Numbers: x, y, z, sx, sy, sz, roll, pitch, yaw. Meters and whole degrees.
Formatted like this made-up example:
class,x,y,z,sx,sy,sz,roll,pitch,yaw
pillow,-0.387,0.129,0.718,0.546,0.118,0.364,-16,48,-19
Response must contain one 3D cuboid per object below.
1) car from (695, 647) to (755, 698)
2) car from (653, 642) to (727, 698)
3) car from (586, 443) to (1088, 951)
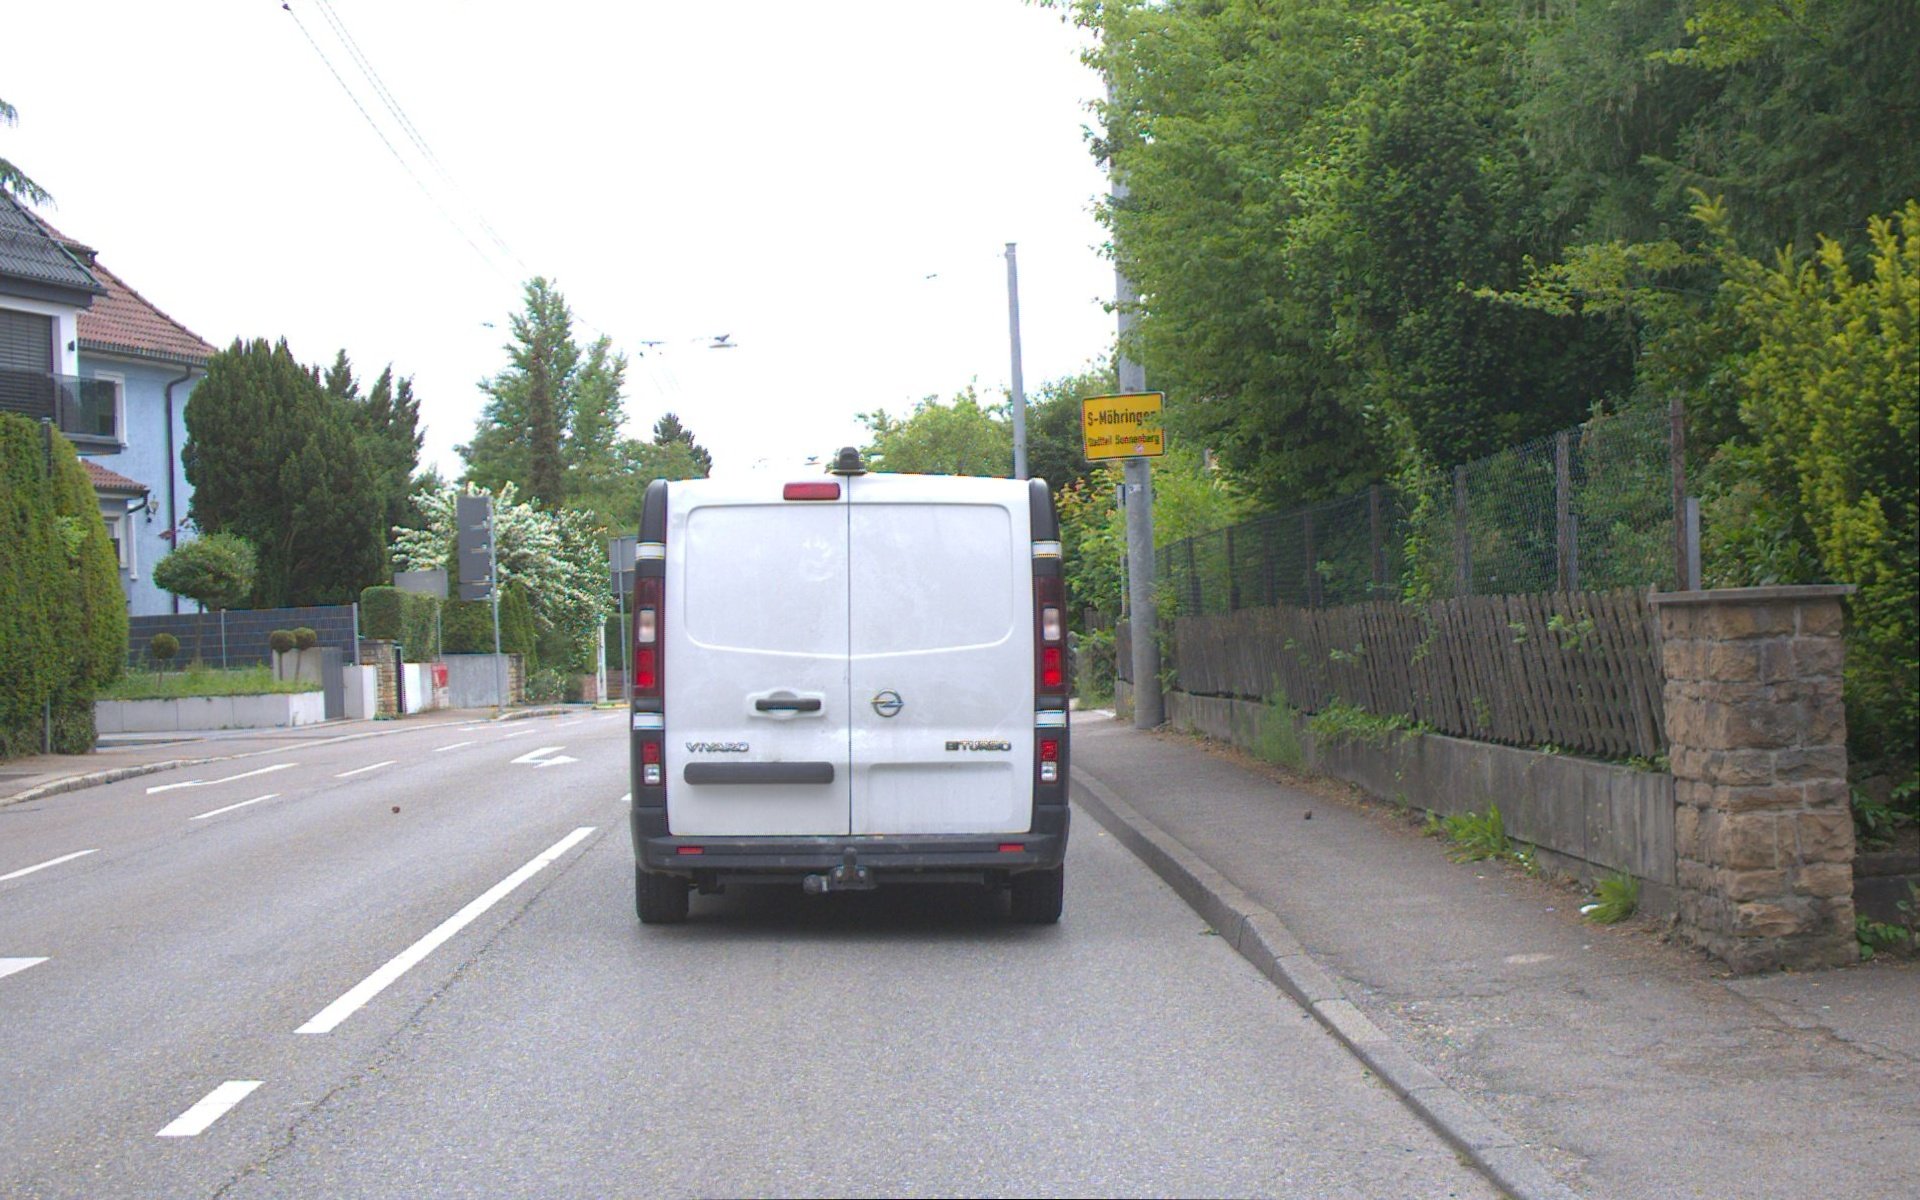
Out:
class,x,y,z,sx,sy,sz,roll,pitch,yaw
car,-7.824,2.423,114.690,1.678,1.551,3.971,-3,-1,-1
car,-7.826,2.013,99.869,1.809,1.450,4.413,-4,-1,-2
car,-0.546,0.385,16.281,2.006,2.031,5.010,0,0,-1
